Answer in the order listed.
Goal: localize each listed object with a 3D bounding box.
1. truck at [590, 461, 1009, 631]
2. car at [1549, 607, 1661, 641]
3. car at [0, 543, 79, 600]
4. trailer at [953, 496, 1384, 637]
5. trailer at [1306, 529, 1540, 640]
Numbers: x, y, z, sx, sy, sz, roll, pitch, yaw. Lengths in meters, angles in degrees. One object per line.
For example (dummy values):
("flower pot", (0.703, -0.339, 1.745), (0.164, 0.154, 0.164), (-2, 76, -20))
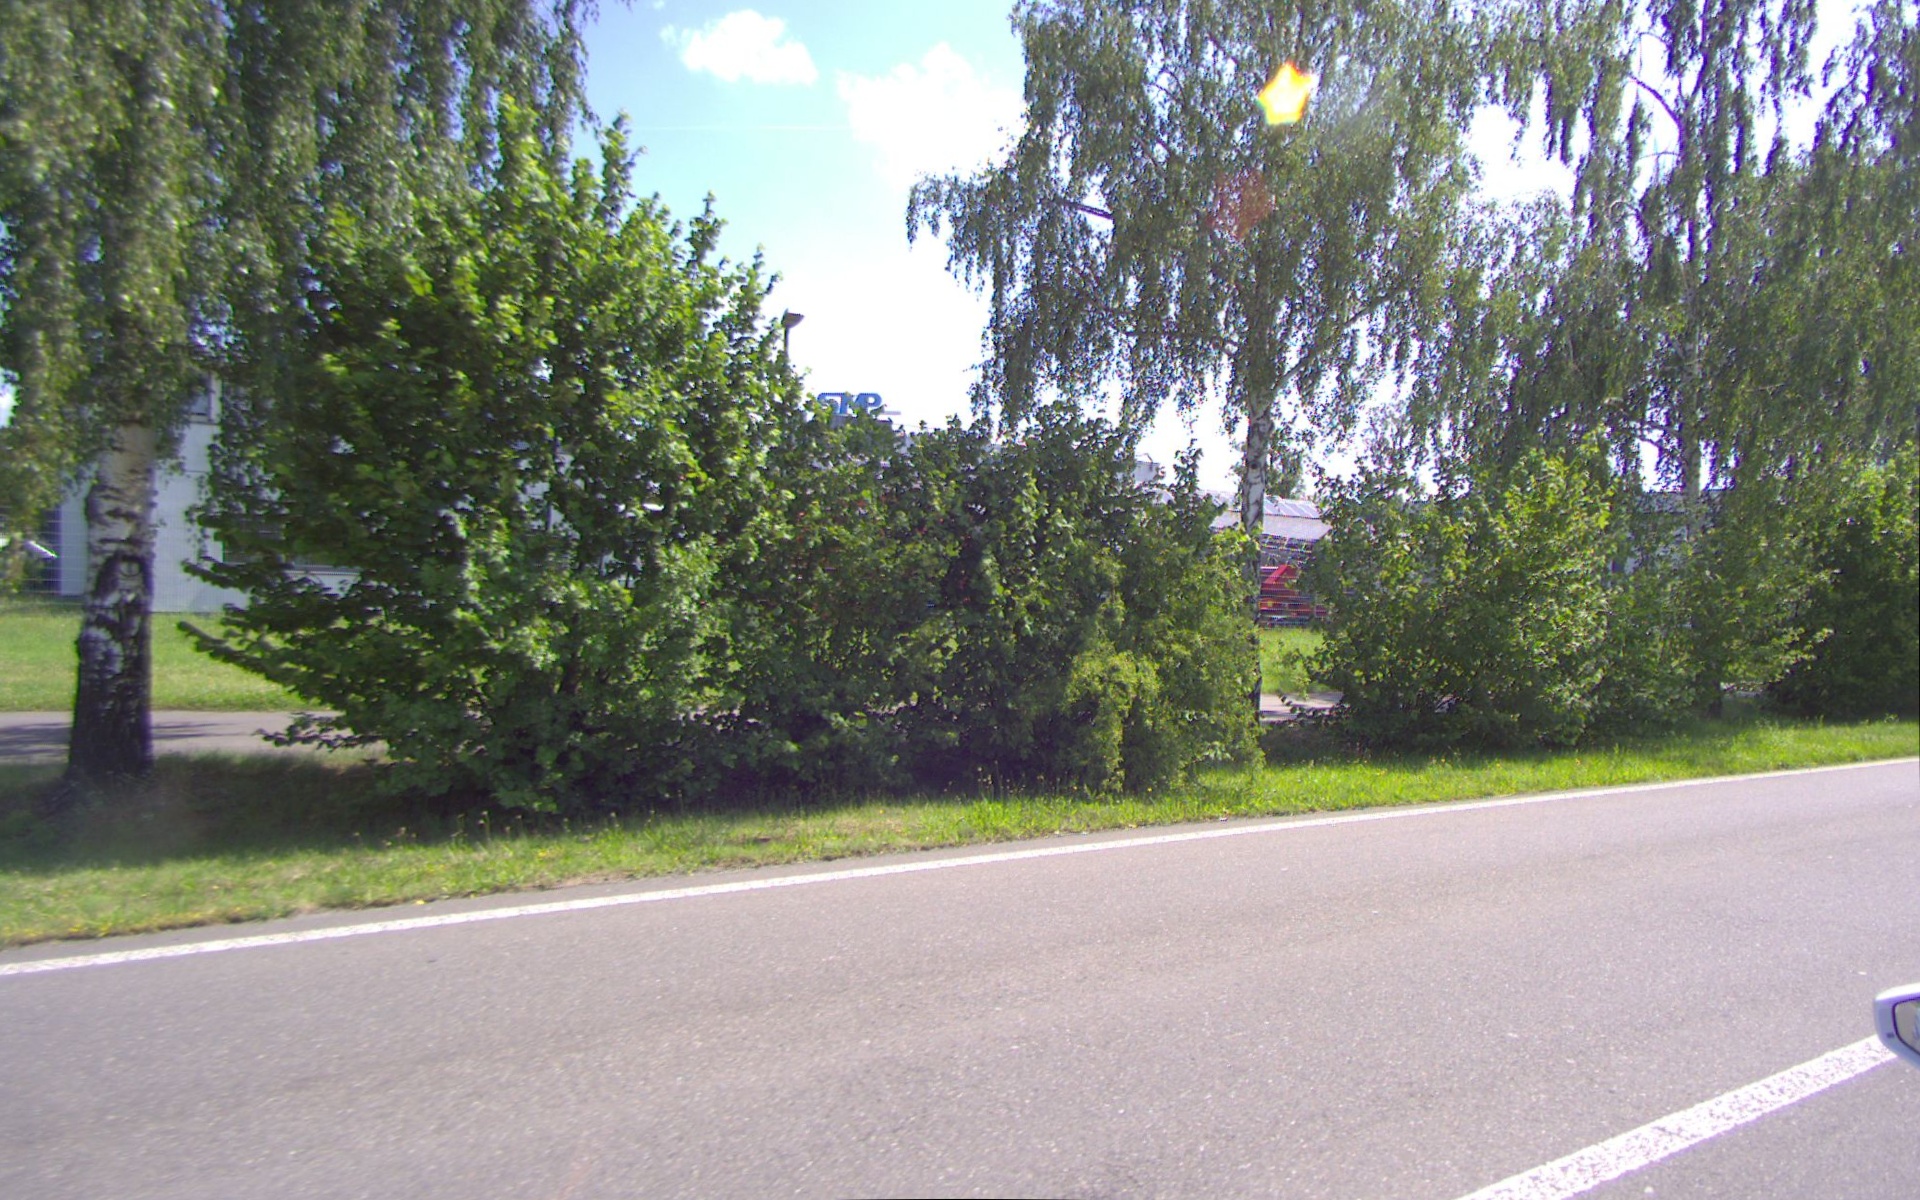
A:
("truck", (-4.026, -1.168, 26.509), (10.458, 3.693, 3.090), (2, 0, -27))
("car", (29.565, 1.076, 46.160), (1.724, 1.361, 3.973), (1, 1, -26))
("car", (-28.435, -0.859, 28.948), (4.165, 1.561, 1.860), (2, 0, -24))
("trailer", (7.119, -0.802, 32.338), (14.733, 3.693, 3.278), (2, 0, -27))
("trailer", (17.427, -0.464, 37.697), (8.547, 3.693, 3.387), (2, 0, -27))
